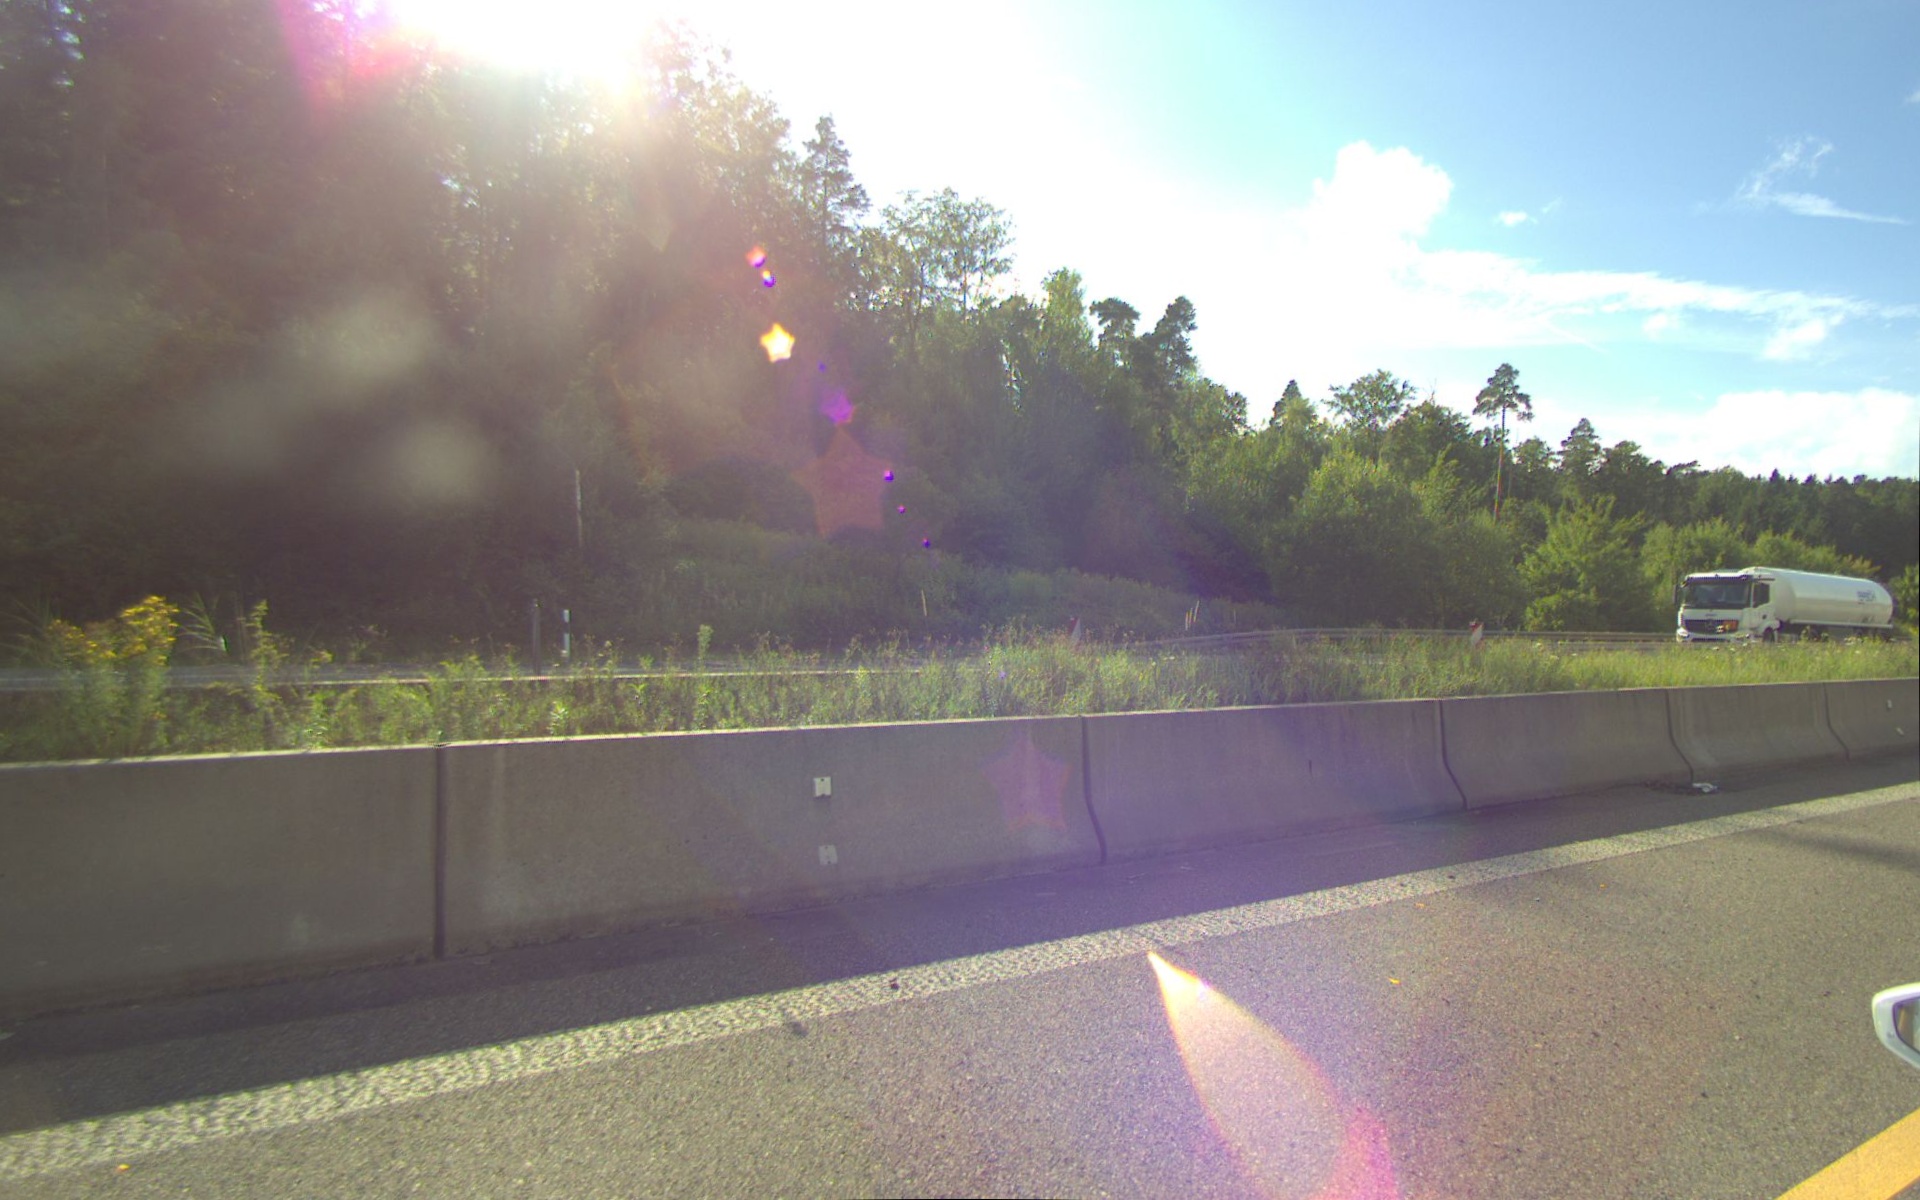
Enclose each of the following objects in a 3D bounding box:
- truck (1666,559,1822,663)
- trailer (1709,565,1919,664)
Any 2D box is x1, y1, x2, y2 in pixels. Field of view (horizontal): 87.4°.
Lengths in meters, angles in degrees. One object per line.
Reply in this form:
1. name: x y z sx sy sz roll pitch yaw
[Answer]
1. truck: 28.531 0.424 36.568 4.880 3.536 2.772 2 0 -30
2. trailer: 33.922 0.646 39.698 10.981 3.536 2.789 2 0 -30
